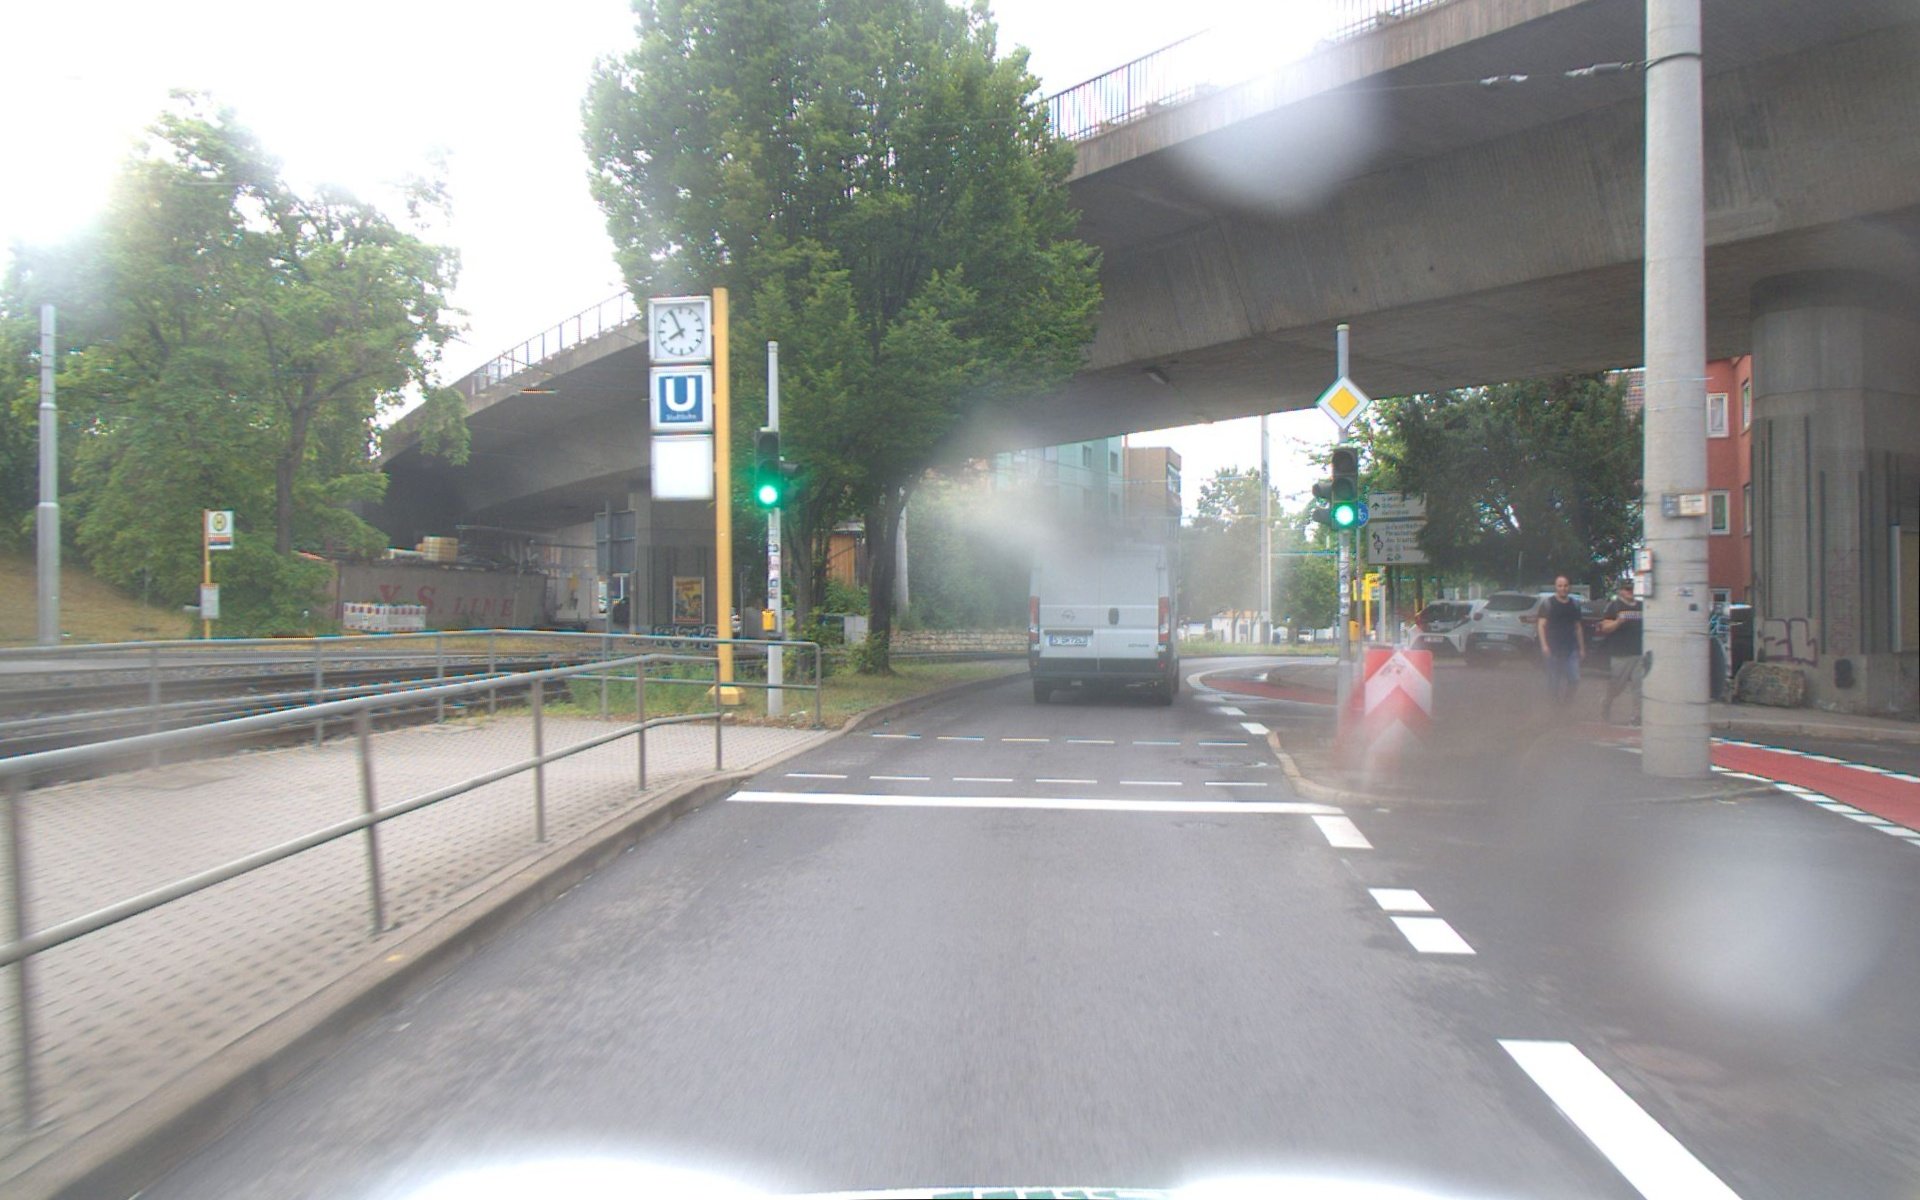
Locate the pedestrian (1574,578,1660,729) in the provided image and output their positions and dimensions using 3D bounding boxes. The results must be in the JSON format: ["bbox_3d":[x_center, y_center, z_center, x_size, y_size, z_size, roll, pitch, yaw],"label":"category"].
[{"bbox_3d":[8.337,0.671,21.006,0.586,1.854,0.907,2,-1,-10],"label":"pedestrian"}]

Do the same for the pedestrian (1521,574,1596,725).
[{"bbox_3d":[7.499,0.616,20.748,0.612,1.840,0.836,2,-1,2],"label":"pedestrian"}]

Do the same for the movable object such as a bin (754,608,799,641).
[{"bbox_3d":[-8.774,1.159,79.216,1.540,1.505,1.784,2,0,-30],"label":"movable object such as a bin"}]

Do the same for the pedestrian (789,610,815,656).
[{"bbox_3d":[-6.336,1.321,66.544,0.679,1.863,0.866,1,-1,24],"label":"pedestrian"}]

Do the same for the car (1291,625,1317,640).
[{"bbox_3d":[37.072,3.501,178.174,1.953,1.467,3.999,2,-1,22],"label":"car"}]

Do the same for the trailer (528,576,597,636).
[{"bbox_3d":[-19.038,0.313,79.156,1.975,2.773,4.077,2,-1,-33],"label":"trailer"}]

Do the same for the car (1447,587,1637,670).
[{"bbox_3d":[12.327,0.603,34.962,3.981,1.659,1.941,1,-1,-37],"label":"car"}]

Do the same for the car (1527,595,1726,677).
[{"bbox_3d":[12.848,0.683,31.790,4.007,1.465,1.763,1,0,-37],"label":"car"}]

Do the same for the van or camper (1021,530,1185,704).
[{"bbox_3d":[2.249,0.277,24.888,2.152,2.292,4.687,2,-1,7],"label":"van or camper"}]

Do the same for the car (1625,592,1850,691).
[{"bbox_3d":[13.796,0.749,29.280,3.953,1.599,1.882,3,-1,-35],"label":"car"}]

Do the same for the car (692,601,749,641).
[{"bbox_3d":[-11.490,1.005,79.183,1.694,1.696,3.170,3,0,-27],"label":"car"}]

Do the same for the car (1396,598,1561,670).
[{"bbox_3d":[11.756,0.755,37.418,3.696,1.548,1.779,1,-1,-37],"label":"car"}]

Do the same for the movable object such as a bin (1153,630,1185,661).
[{"bbox_3d":[15.637,3.407,123.648,2.088,2.194,1.803,2,0,16],"label":"movable object such as a bin"}]

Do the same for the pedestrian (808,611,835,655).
[{"bbox_3d":[-5.507,1.307,65.913,0.680,1.699,0.887,1,-1,27],"label":"pedestrian"}]
